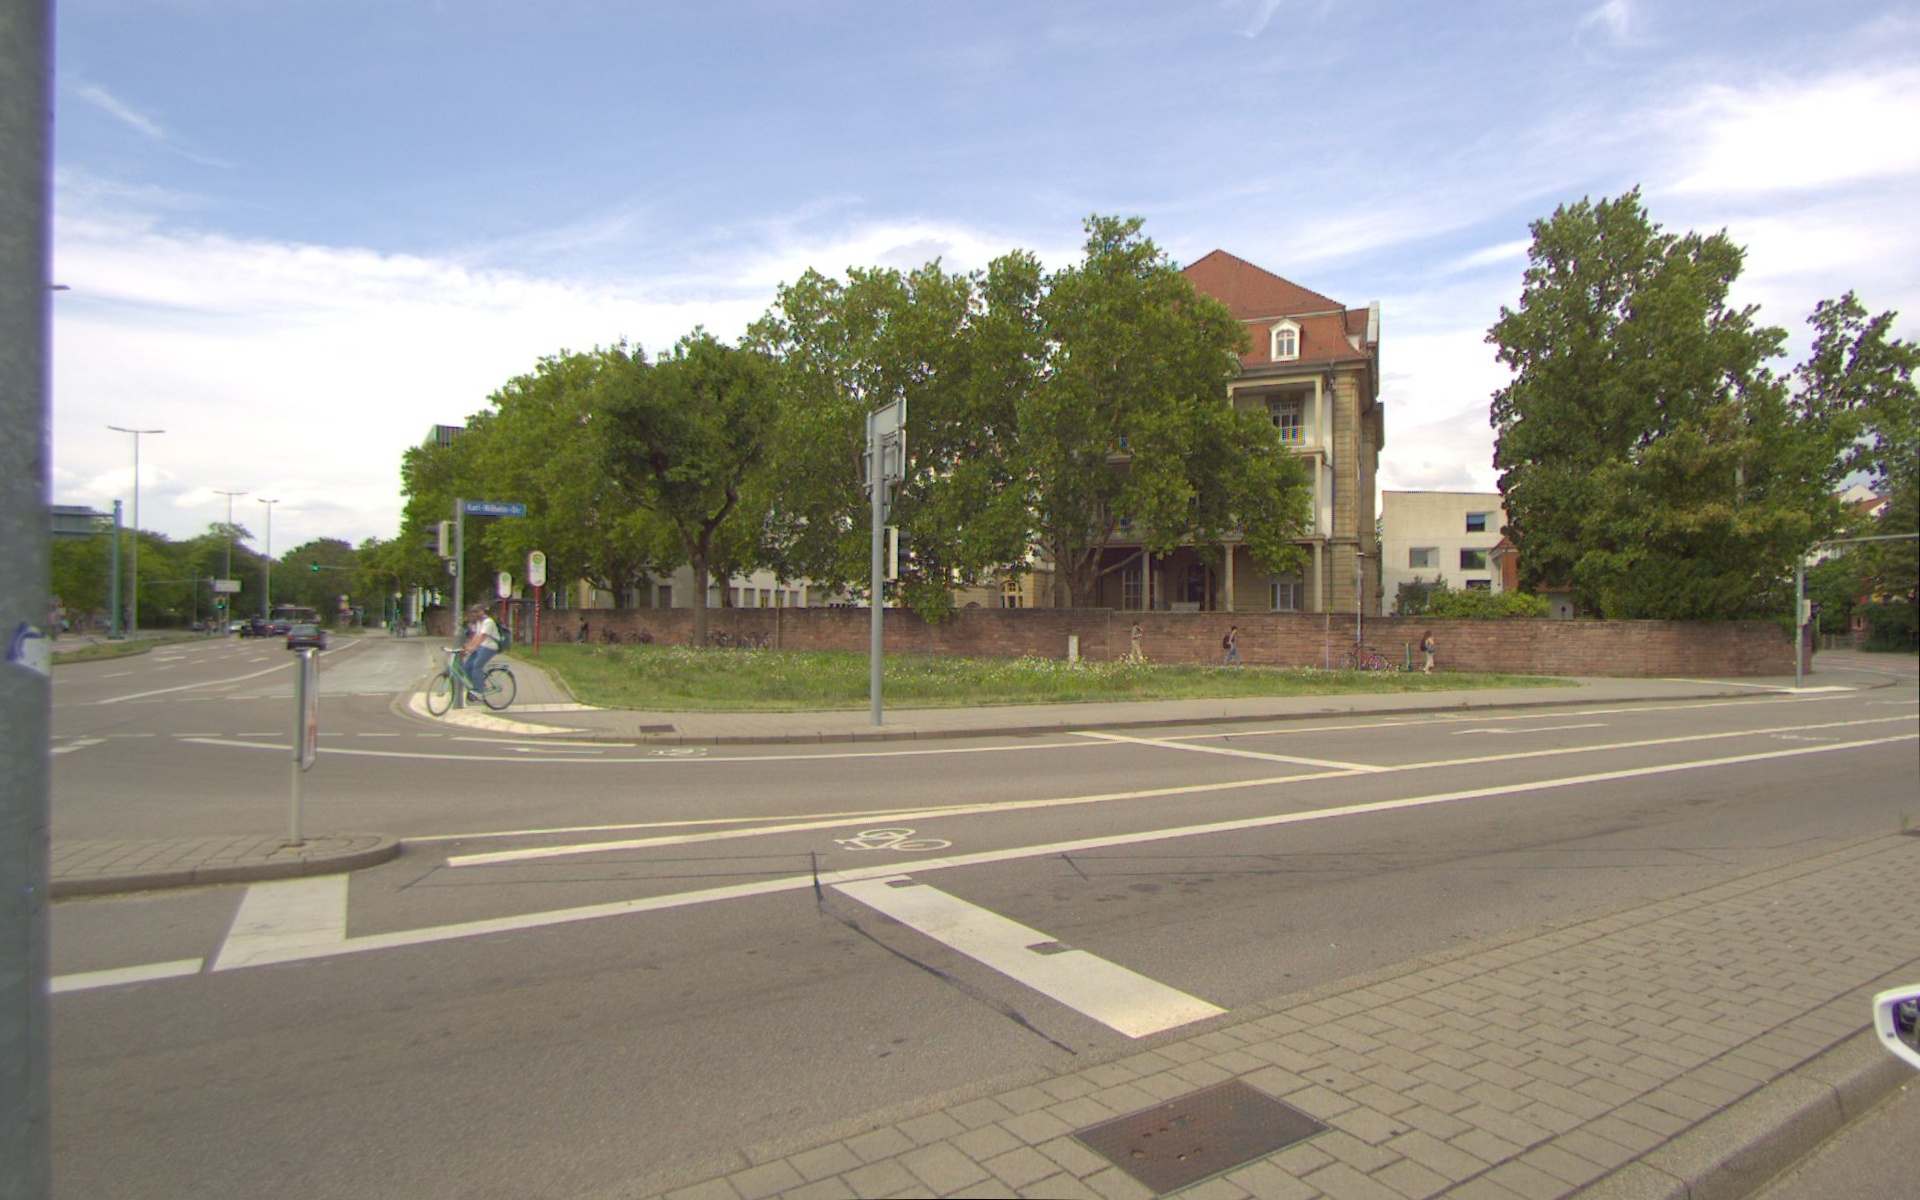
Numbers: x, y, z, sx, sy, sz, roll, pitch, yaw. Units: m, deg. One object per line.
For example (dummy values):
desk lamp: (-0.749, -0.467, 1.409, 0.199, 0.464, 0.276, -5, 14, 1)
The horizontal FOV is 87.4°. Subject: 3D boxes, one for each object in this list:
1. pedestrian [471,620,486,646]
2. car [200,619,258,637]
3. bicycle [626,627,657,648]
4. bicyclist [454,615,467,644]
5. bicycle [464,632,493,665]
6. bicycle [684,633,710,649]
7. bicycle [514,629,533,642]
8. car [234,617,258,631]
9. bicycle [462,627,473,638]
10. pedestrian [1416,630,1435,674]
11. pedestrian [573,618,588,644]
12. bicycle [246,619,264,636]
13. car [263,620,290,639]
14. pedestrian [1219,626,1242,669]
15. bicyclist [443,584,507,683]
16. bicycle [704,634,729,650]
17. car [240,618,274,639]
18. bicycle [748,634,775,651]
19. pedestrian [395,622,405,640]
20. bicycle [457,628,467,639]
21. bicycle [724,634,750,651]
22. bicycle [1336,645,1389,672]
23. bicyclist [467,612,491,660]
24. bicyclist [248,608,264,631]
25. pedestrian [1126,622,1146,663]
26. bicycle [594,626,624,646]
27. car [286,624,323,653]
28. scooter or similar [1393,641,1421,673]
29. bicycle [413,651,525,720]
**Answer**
pedestrian: (-31.177, 2.124, 65.012, 0.747, 1.643, 0.659, -1, 0, -35)
car: (-67.700, 2.625, 93.087, 4.048, 1.509, 1.791, 2, -2, 1)
bicycle: (-18.985, 2.232, 59.857, 2.067, 1.204, 0.755, -1, -4, 40)
bicyclist: (-28.454, 1.669, 57.240, 0.486, 1.576, 0.795, 0, 1, -15)
bicycle: (-15.966, 1.591, 33.333, 0.497, 0.948, 1.965, 0, 1, -15)
bicycle: (-14.908, 2.344, 56.934, 1.794, 0.875, 0.357, -1, -4, 38)
bicycle: (-30.855, 2.494, 70.977, 1.553, 0.899, 0.658, -2, 1, 42)
car: (-84.336, 2.852, 118.719, 1.768, 1.509, 4.099, 3, -2, -29)
bicycle: (-39.944, 2.636, 81.529, 0.429, 0.899, 1.558, -3, 1, -39)
pedestrian: (18.224, 2.021, 39.342, 0.618, 1.677, 0.531, -1, 0, 22)
pedestrian: (-24.309, 1.970, 64.341, 0.743, 1.643, 0.566, -1, 0, 39)
bicycle: (-53.737, 2.113, 76.613, 0.749, 1.204, 2.085, 3, -3, -26)
car: (-60.849, 2.604, 89.515, 1.771, 1.509, 4.094, 3, -2, -32)
pedestrian: (10.801, 1.905, 40.114, 0.766, 1.677, 0.577, -1, 0, 1)
bicyclist: (-7.999, 0.532, 16.595, 0.568, 1.576, 0.798, 1, 1, 15)
bicycle: (-13.504, 2.317, 55.781, 1.783, 0.875, 0.357, -1, -4, 41)
car: (-56.378, 2.262, 80.603, 1.768, 1.509, 4.099, 3, -2, -29)
bicycle: (-10.669, 2.263, 53.918, 1.681, 0.875, 0.358, -1, -4, 36)
pedestrian: (-51.130, 2.838, 91.661, 0.747, 1.643, 0.659, -1, 0, -35)
bicycle: (-41.139, 2.753, 82.970, 0.429, 0.899, 1.558, -3, 1, -39)
bicycle: (-12.125, 2.292, 54.541, 1.864, 0.875, 0.357, -1, -4, 43)
bicycle: (16.057, 2.317, 40.099, 1.887, 1.018, 0.779, -1, 0, 16)
bicyclist: (-15.953, 1.188, 33.354, 0.570, 1.576, 0.795, 0, 1, -15)
bicyclist: (-53.707, 1.497, 76.604, 0.768, 1.733, 1.079, 3, -3, -26)
pedestrian: (7.337, 1.757, 41.973, 0.766, 1.677, 0.577, -1, 0, 7)
bicycle: (-21.794, 2.255, 62.378, 2.067, 1.204, 0.755, -1, -4, 40)
car: (-38.168, 2.195, 58.461, 1.683, 1.500, 4.374, -1, 0, -34)
scooter or similar: (17.736, 2.257, 39.867, 0.513, 1.154, 1.510, -1, 0, 44)
bicycle: (-8.036, 1.372, 16.546, 0.496, 0.948, 1.972, 1, 1, 15)
